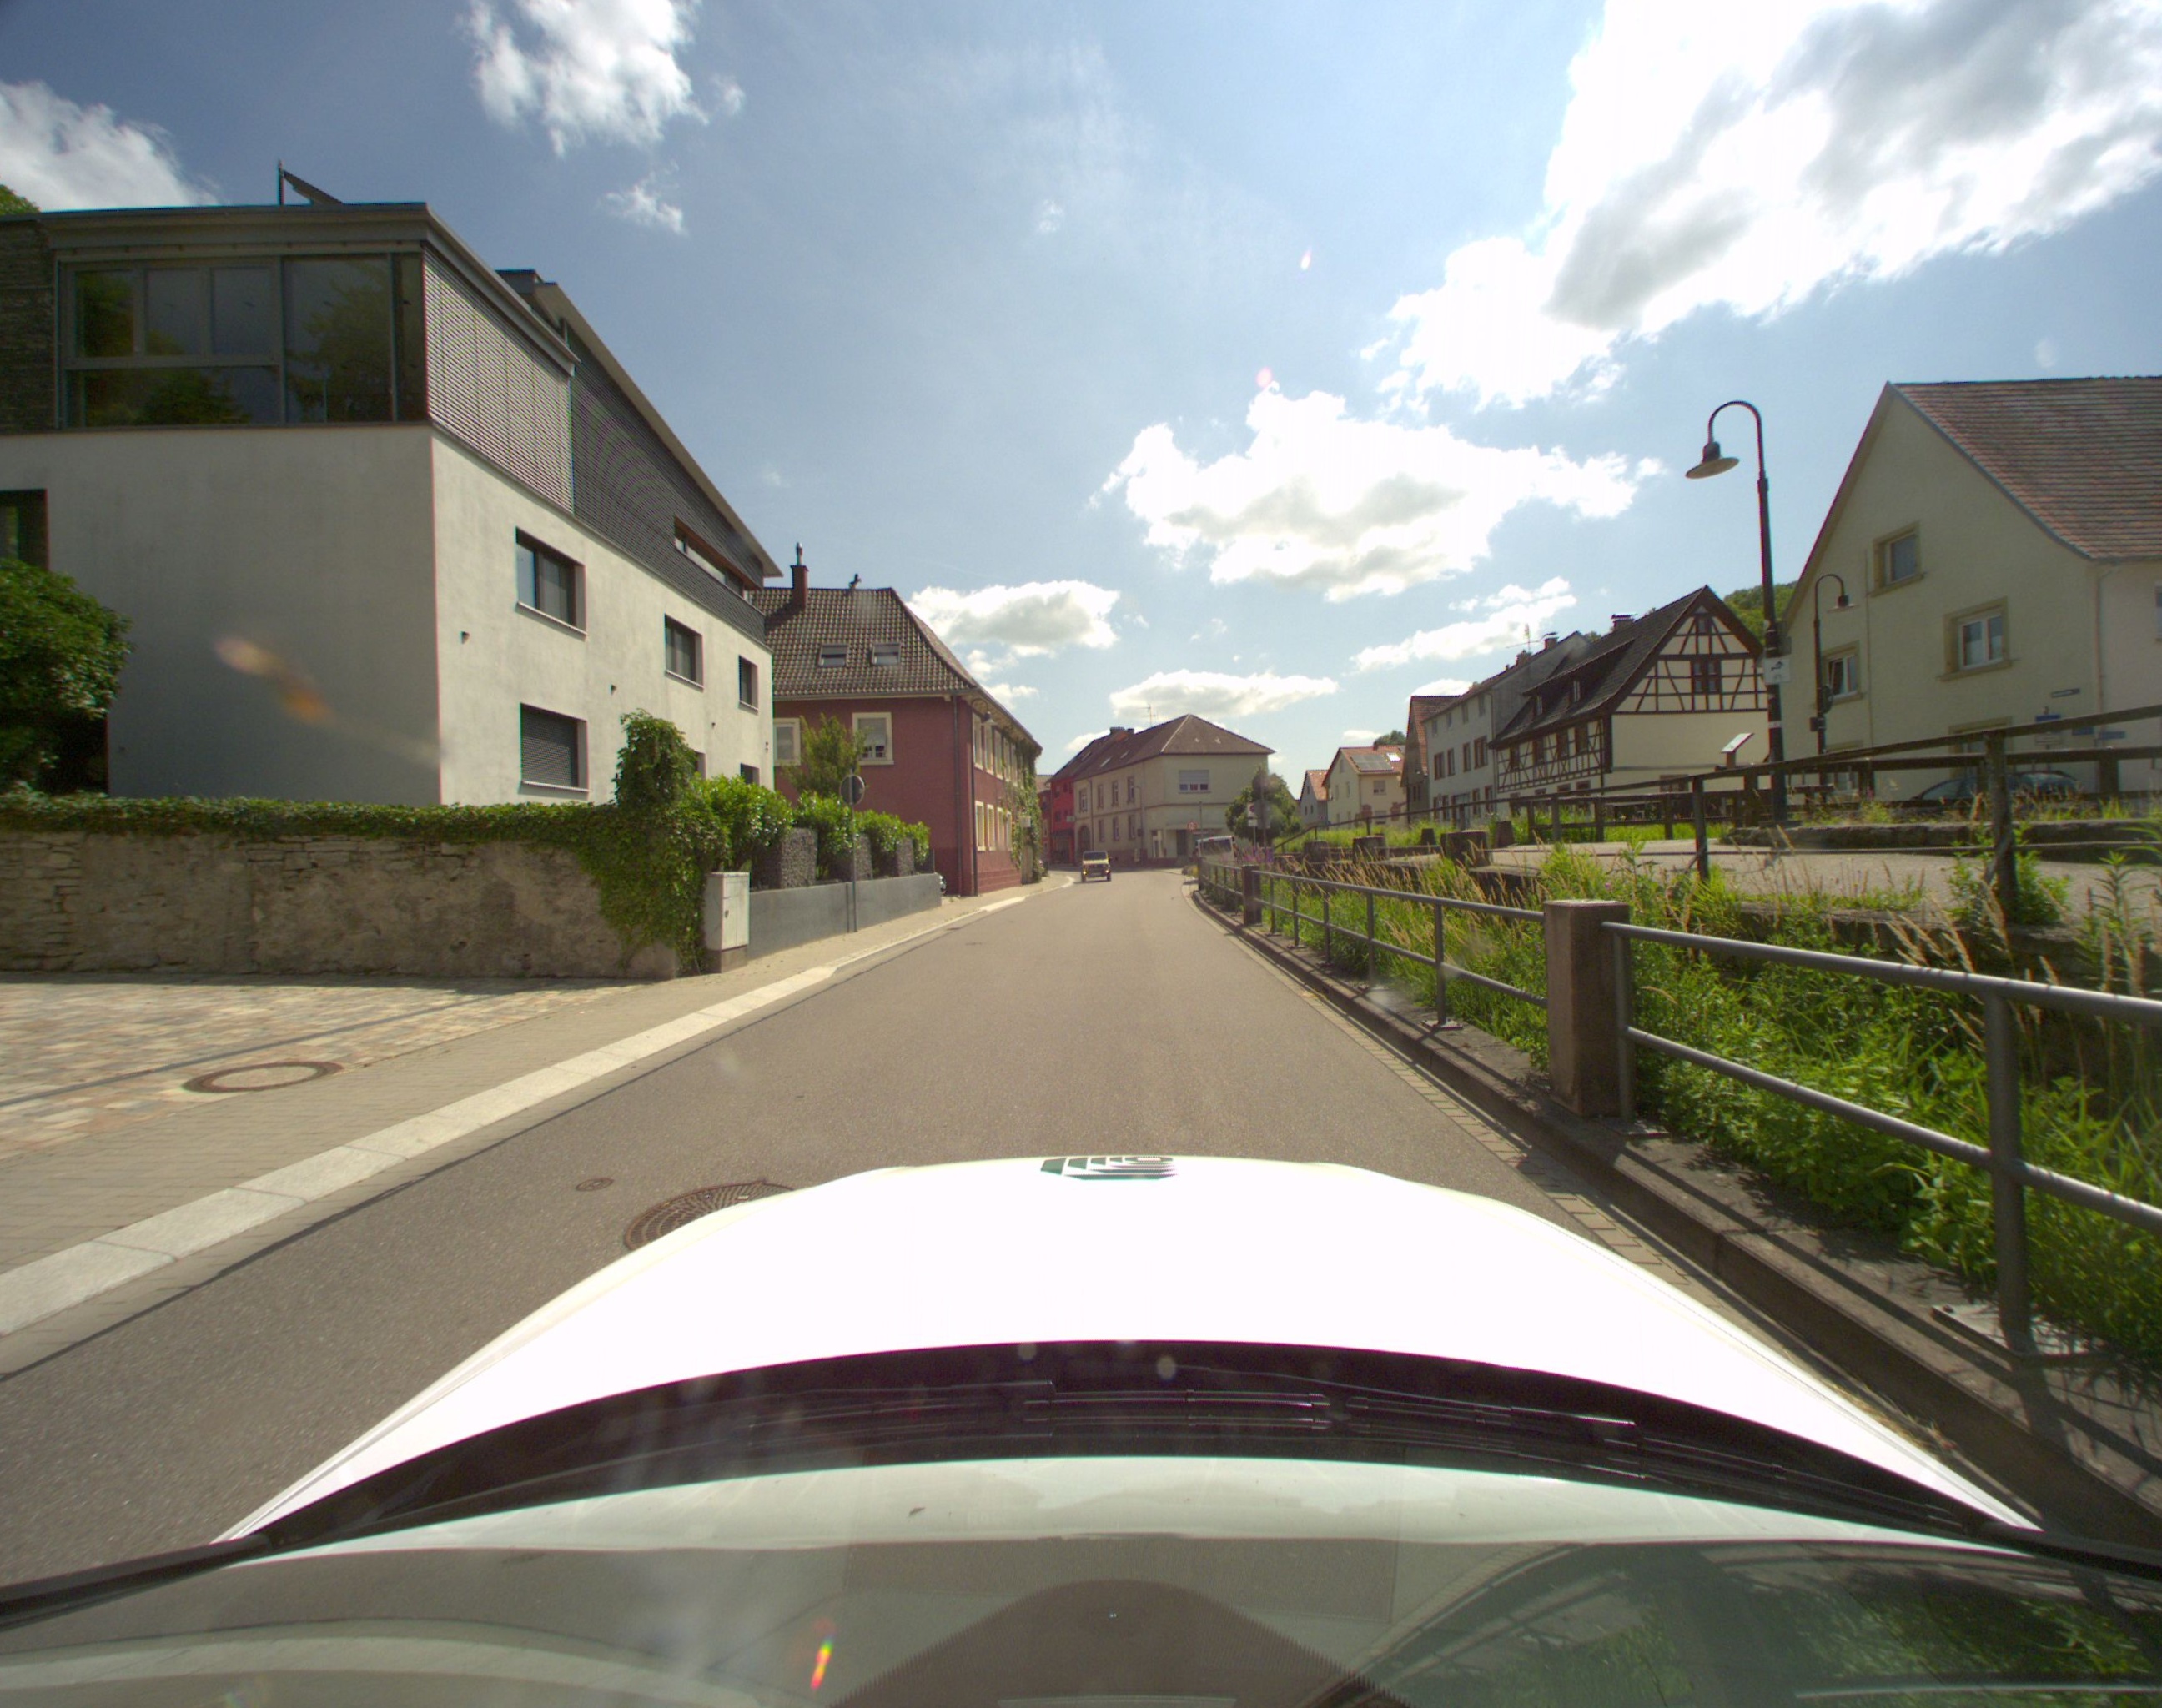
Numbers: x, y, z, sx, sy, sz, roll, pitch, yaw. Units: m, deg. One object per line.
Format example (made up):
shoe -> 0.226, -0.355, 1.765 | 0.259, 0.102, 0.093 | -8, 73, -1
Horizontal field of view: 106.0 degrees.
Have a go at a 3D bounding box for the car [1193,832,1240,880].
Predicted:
car -> 6.078, 0.075, 36.814 | 1.887, 1.980, 3.121 | -4, 0, 8

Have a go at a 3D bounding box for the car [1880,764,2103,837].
car -> 20.171, -1.120, 18.244 | 1.658, 1.416, 3.082 | -1, 0, 4

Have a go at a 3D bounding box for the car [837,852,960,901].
car -> -5.955, 0.712, 26.856 | 3.548, 1.406, 1.654 | 2, 0, 4

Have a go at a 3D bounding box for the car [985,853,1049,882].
car -> -4.134, 0.863, 52.001 | 2.011, 1.530, 3.951 | -1, -3, -43

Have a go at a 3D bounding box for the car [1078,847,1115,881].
car -> 0.895, 0.542, 45.301 | 1.613, 1.719, 3.480 | -4, 0, 7
